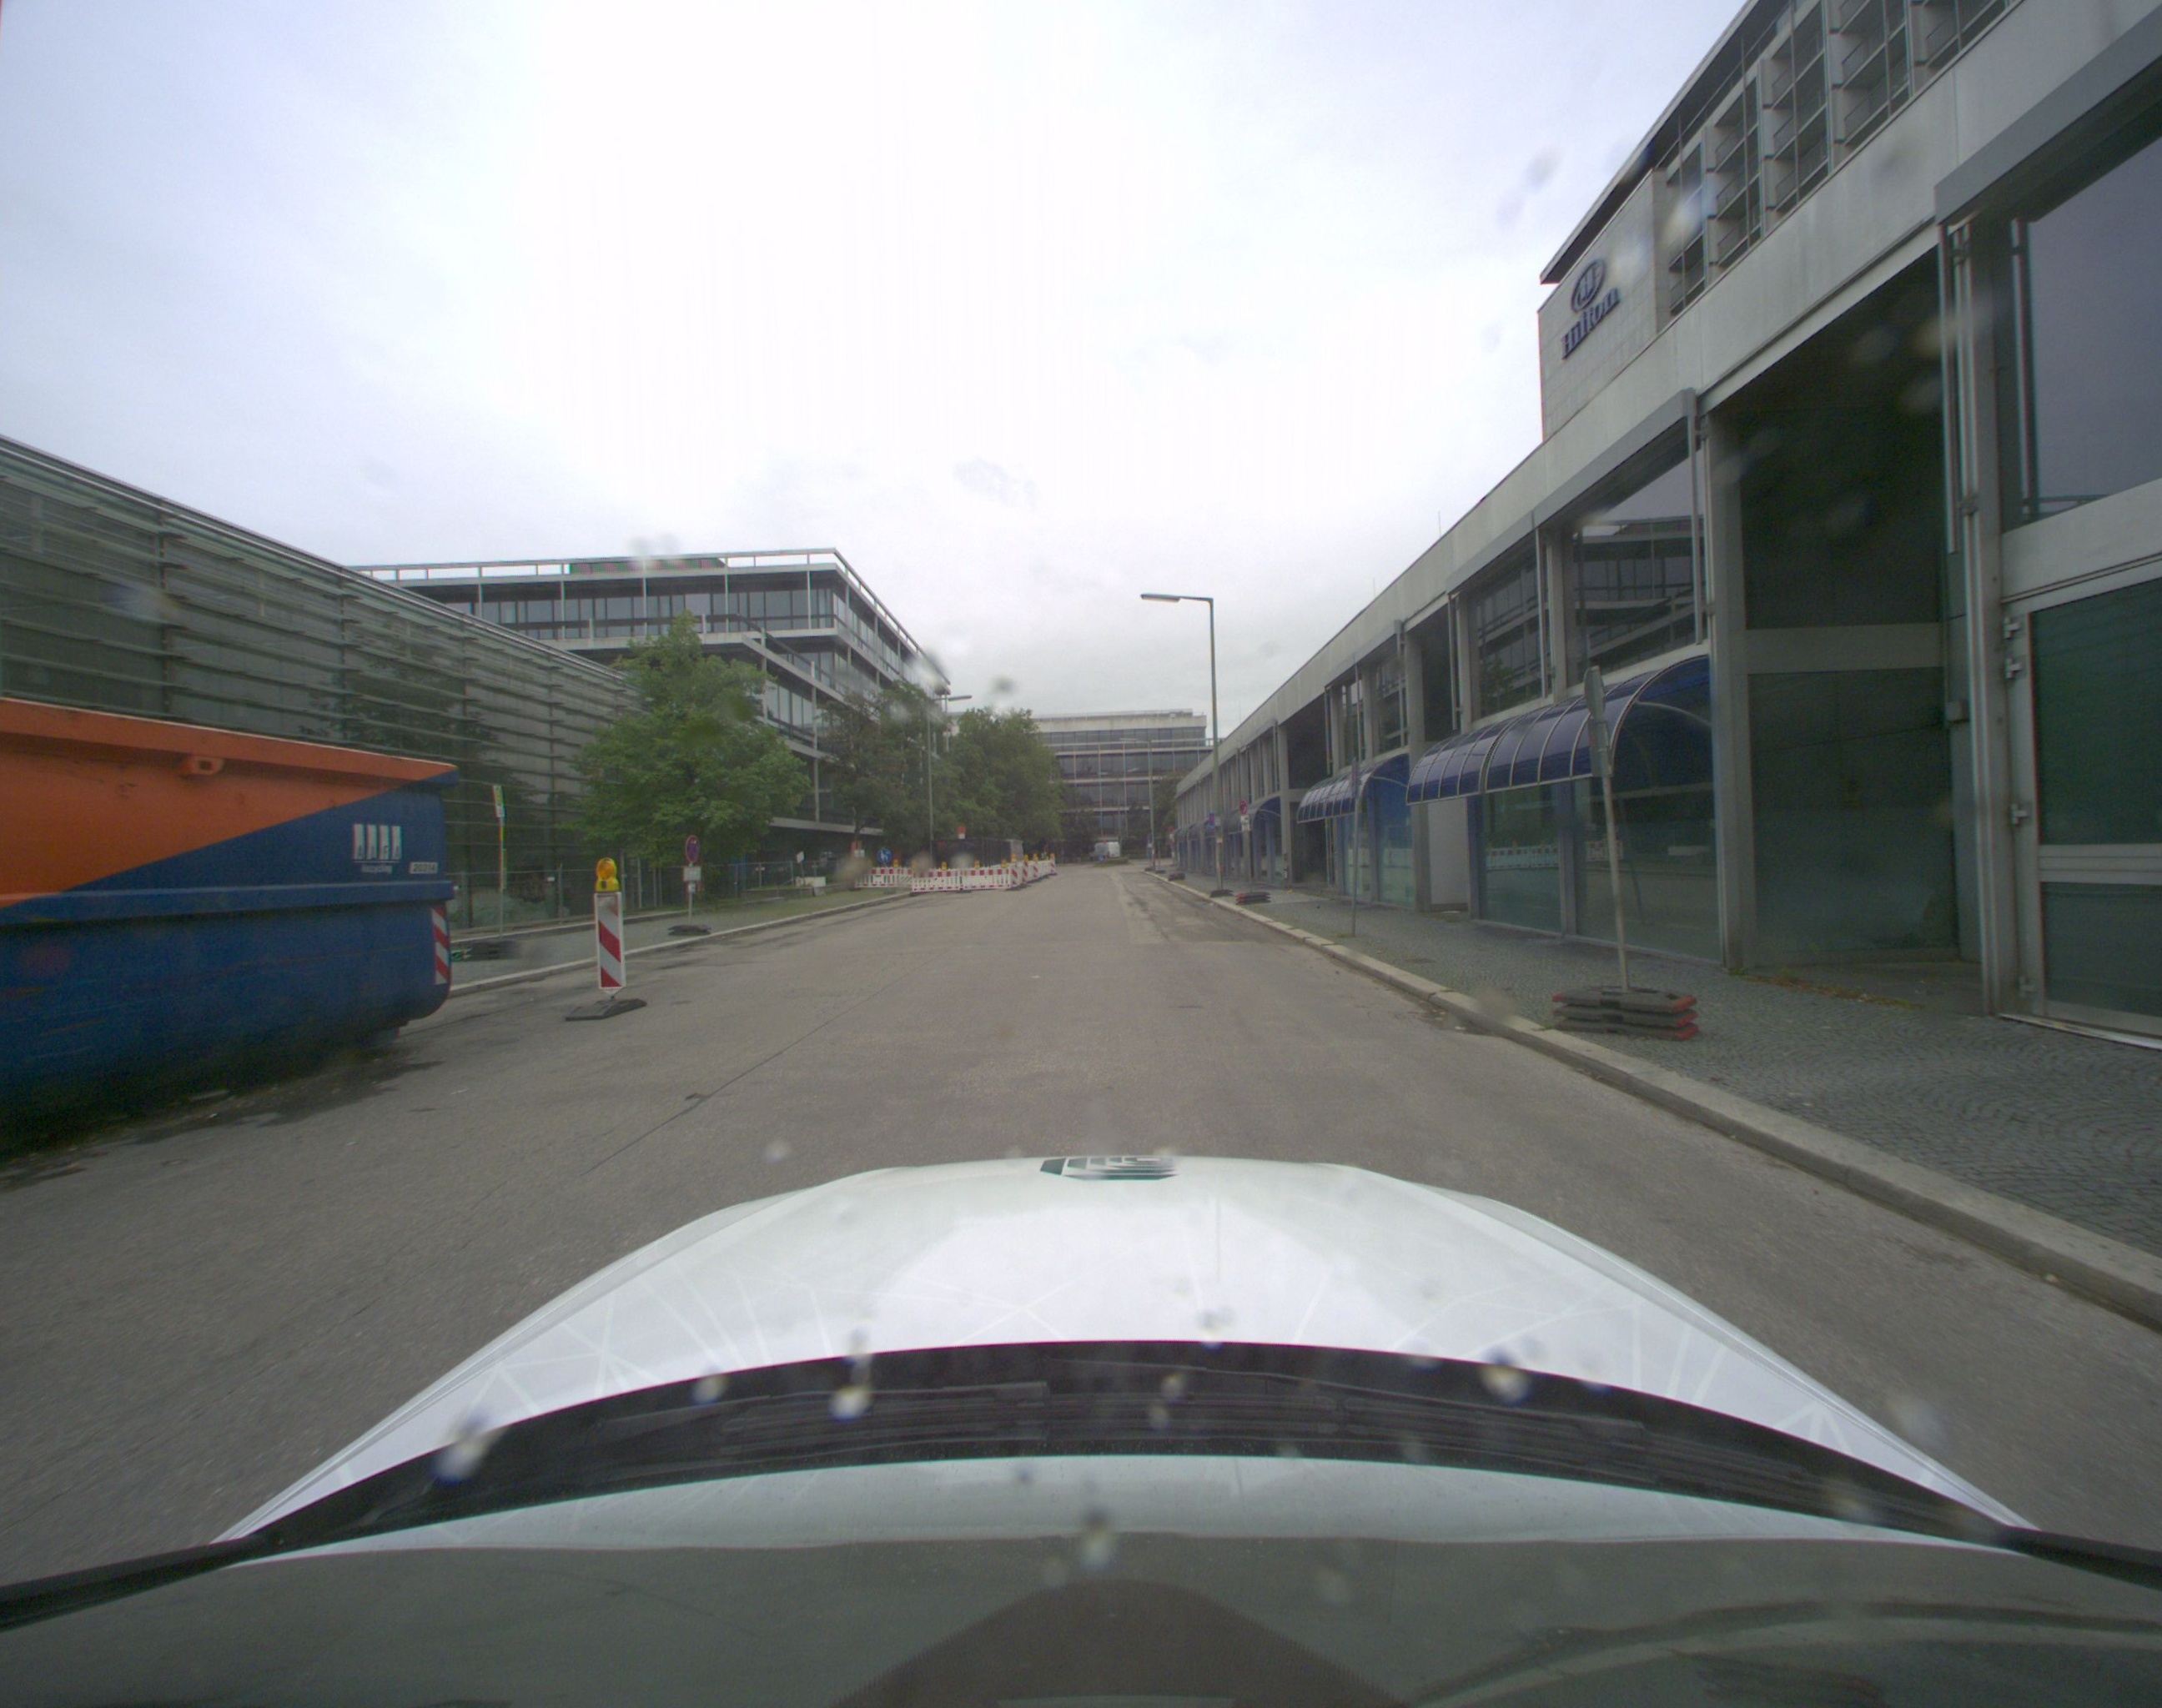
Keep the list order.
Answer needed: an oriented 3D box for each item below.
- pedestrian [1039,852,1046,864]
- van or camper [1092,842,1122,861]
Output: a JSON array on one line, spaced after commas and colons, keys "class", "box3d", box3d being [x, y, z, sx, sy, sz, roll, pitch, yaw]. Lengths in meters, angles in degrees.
[{"class": "pedestrian", "box3d": [-5.363, 0.575, 113.509, 0.743, 1.677, 0.678, -2, 0, -18]}, {"class": "van or camper", "box3d": [3.631, -0.303, 114.555, 2.095, 2.492, 5.027, -2, 0, -24]}]
